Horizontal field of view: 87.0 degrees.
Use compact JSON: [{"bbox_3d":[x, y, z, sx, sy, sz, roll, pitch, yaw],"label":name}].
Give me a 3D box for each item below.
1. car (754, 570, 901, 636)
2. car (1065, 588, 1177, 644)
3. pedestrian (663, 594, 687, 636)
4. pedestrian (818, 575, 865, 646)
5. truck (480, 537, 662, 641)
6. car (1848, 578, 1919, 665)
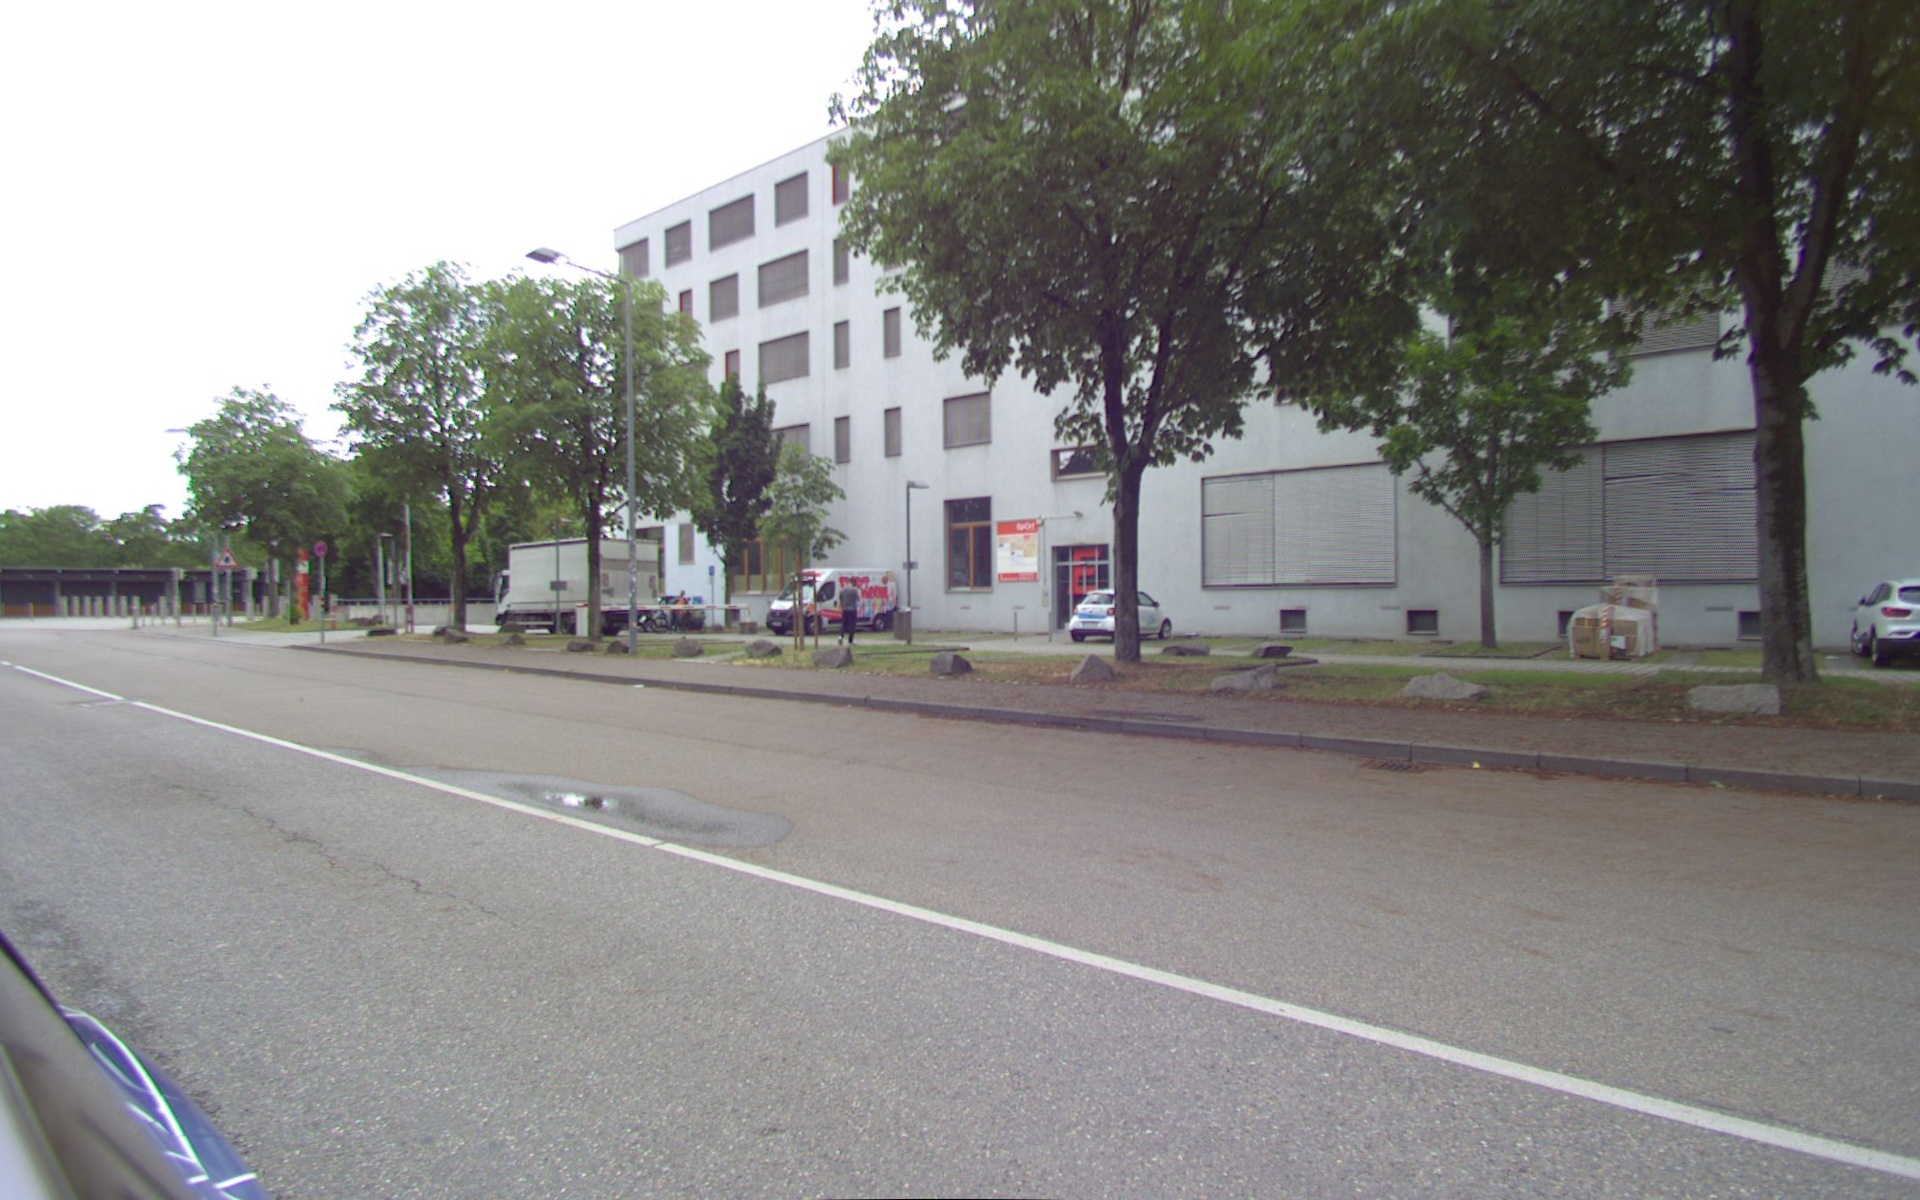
[{"bbox_3d":[-4.868,0.042,38.116,2.078,2.295,5.569,1,1,40],"label":"car"},{"bbox_3d":[4.791,0.424,29.833,1.691,1.511,3.575,1,2,40],"label":"car"},{"bbox_3d":[-11.069,0.574,39.287,0.873,1.618,0.682,-1,1,-18],"label":"pedestrian"},{"bbox_3d":[-2.875,0.232,24.577,0.785,1.684,0.836,1,1,35],"label":"pedestrian"},{"bbox_3d":[-15.092,-0.469,38.911,8.354,3.627,2.651,1,2,38],"label":"truck"},{"bbox_3d":[17.906,0.337,18.675,1.896,1.467,3.962,1,2,36],"label":"car"}]
